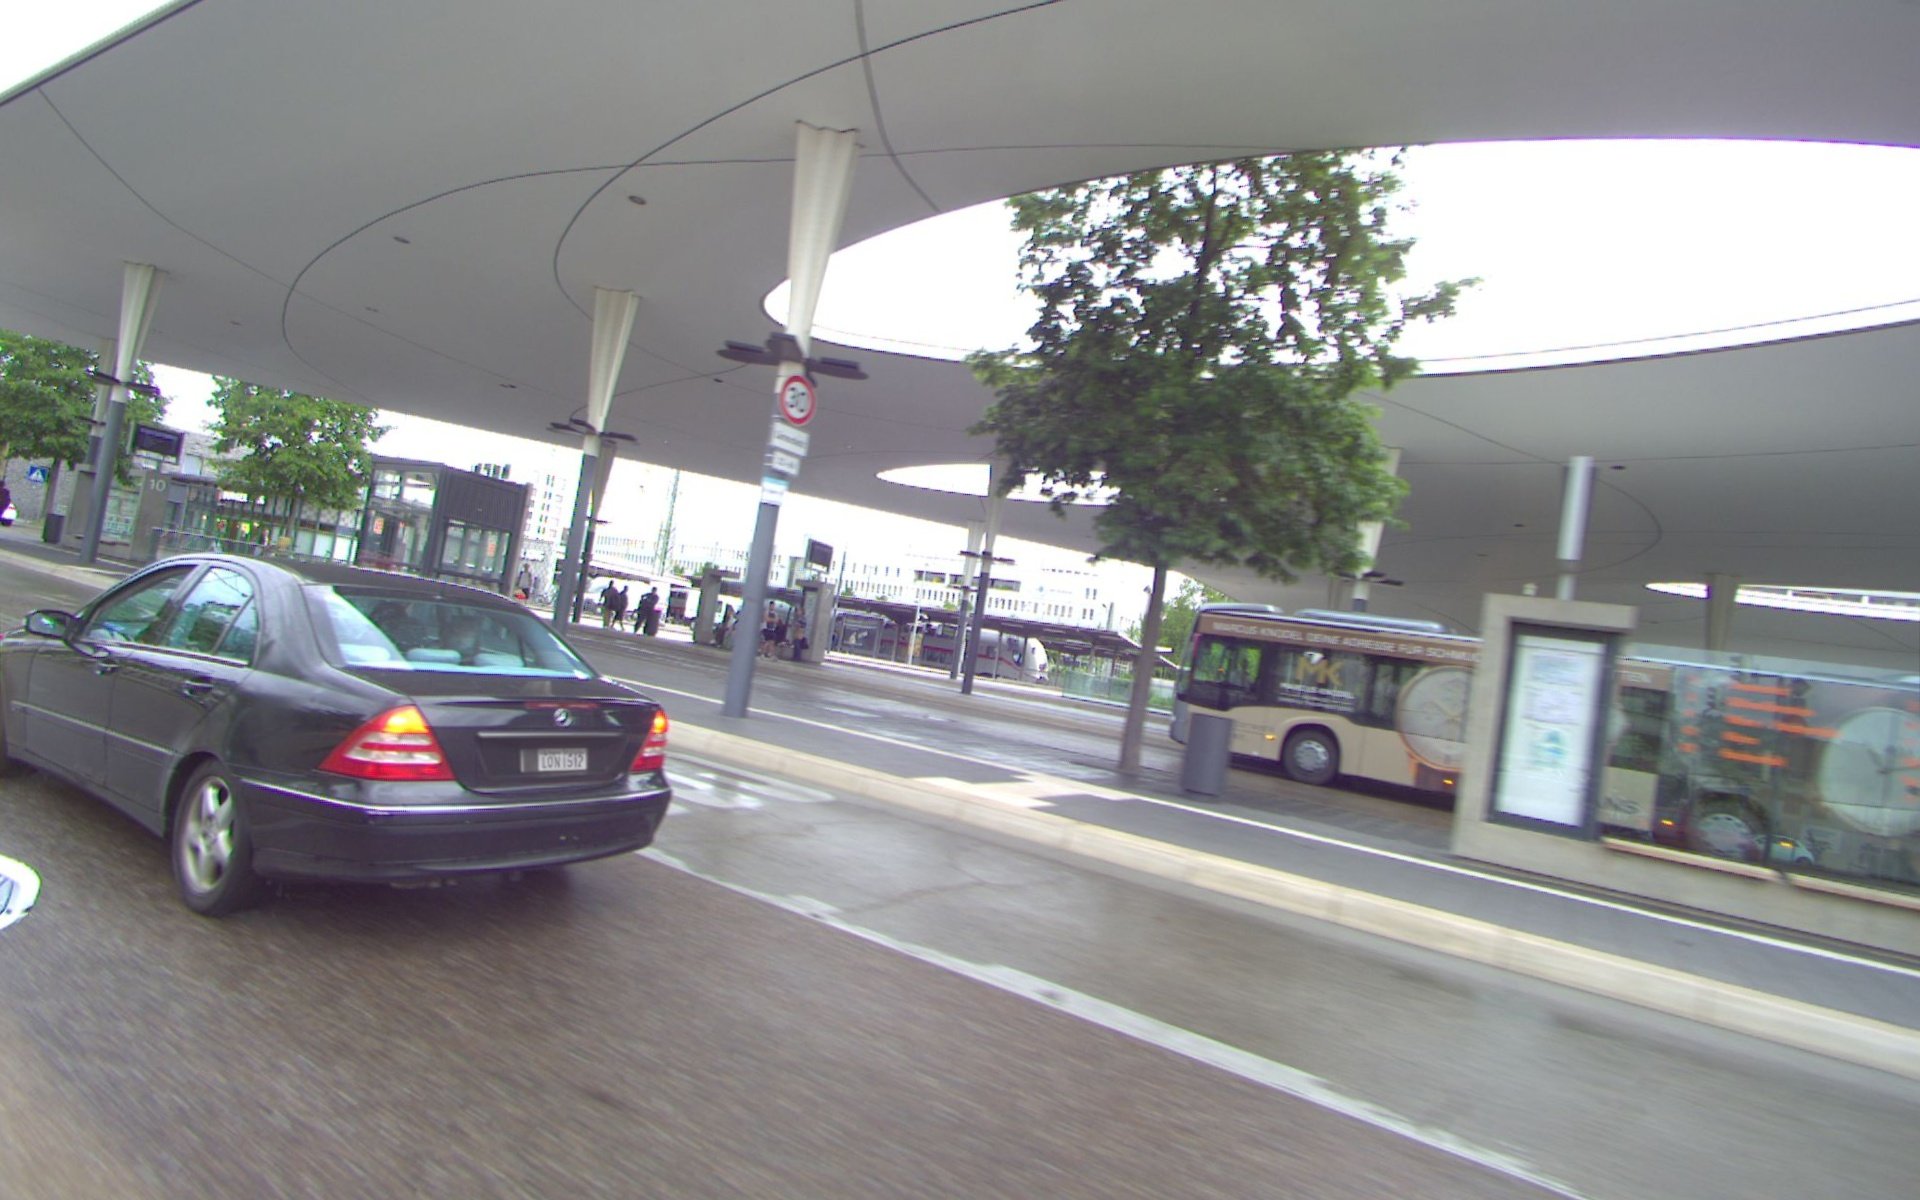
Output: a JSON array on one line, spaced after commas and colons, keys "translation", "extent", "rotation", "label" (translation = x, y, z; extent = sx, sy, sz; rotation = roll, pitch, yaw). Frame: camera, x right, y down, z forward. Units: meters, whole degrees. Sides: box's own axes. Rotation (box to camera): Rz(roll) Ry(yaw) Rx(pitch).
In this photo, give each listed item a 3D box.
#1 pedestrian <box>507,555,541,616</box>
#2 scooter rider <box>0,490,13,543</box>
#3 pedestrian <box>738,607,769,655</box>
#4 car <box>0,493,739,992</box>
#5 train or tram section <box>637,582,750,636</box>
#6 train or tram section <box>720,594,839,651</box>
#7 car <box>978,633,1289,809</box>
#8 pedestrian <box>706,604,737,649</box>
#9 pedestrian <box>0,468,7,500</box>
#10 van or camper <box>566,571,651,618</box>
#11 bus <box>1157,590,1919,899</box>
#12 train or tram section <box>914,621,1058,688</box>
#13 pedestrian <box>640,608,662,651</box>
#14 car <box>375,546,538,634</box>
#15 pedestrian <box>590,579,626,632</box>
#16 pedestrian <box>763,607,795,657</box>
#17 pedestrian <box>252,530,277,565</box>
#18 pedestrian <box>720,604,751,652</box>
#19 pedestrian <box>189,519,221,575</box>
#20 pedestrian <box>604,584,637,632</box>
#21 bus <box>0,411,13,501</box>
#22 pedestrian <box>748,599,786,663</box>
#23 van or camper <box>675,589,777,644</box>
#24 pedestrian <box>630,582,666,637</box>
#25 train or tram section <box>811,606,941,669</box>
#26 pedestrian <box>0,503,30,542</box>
[{"translation": [-15.593, -0.490, 35.980], "extent": [0.719, 2.031, 0.666], "rotation": [11, -8, -31], "label": "pedestrian"}, {"translation": [-28.236, -2.482, 29.447], "extent": [0.590, 1.506, 0.755], "rotation": [10, -3, -43], "label": "scooter rider"}, {"translation": [-6.747, 1.018, 32.864], "extent": [0.603, 1.460, 0.561], "rotation": [6, -2, 29], "label": "pedestrian"}, {"translation": [-3.366, 0.425, 5.163], "extent": [4.232, 1.479, 1.701], "rotation": [7, -2, 32], "label": "car"}, {"translation": [-27.011, 0.864, 101.461], "extent": [12.120, 3.693, 3.145], "rotation": [7, -6, 32], "label": "train or tram section"}, {"translation": [-17.136, 2.070, 95.121], "extent": [11.424, 3.693, 3.145], "rotation": [7, -6, 32], "label": "train or tram section"}, {"translation": [2.086, 1.409, 12.175], "extent": [3.183, 1.469, 1.652], "rotation": [7, -3, 31], "label": "car"}, {"translation": [-7.924, 0.876, 33.485], "extent": [0.603, 1.376, 0.561], "rotation": [6, -2, 29], "label": "pedestrian"}, {"translation": [-25.649, -2.500, 26.268], "extent": [0.772, 2.033, 0.777], "rotation": [5, -6, 45], "label": "pedestrian"}, {"translation": [-22.409, -0.318, 64.328], "extent": [2.074, 2.294, 4.701], "rotation": [7, -3, 29], "label": "van or camper"}, {"translation": [9.573, 2.075, 16.851], "extent": [11.891, 3.078, 2.727], "rotation": [7, -2, 33], "label": "bus"}, {"translation": [2.013, 4.404, 82.875], "extent": [11.425, 3.712, 3.145], "rotation": [7, -6, 32], "label": "train or tram section"}, {"translation": [-10.931, 1.049, 35.572], "extent": [0.469, 1.403, 0.560], "rotation": [10, -7, -22], "label": "pedestrian"}, {"translation": [-13.284, -0.282, 26.496], "extent": [4.169, 1.680, 1.717], "rotation": [7, -4, 32], "label": "car"}, {"translation": [-11.655, 0.183, 33.316], "extent": [0.699, 1.597, 0.601], "rotation": [6, -5, 24], "label": "pedestrian"}, {"translation": [-5.790, 1.025, 32.154], "extent": [0.625, 1.460, 0.561], "rotation": [6, -2, 30], "label": "pedestrian"}, {"translation": [-34.529, -2.606, 49.950], "extent": [0.664, 1.592, 0.606], "rotation": [2, -8, 38], "label": "pedestrian"}, {"translation": [-7.390, 0.924, 33.130], "extent": [0.603, 1.460, 0.561], "rotation": [6, -2, 29], "label": "pedestrian"}, {"translation": [-24.313, -1.704, 32.392], "extent": [0.570, 1.697, 0.578], "rotation": [8, -2, -31], "label": "pedestrian"}, {"translation": [-12.279, 0.302, 36.433], "extent": [0.759, 1.592, 0.583], "rotation": [7, -7, 1], "label": "pedestrian"}, {"translation": [-27.573, -3.410, 25.012], "extent": [10.702, 3.329, 3.292], "rotation": [7, -2, 34], "label": "bus"}, {"translation": [-5.537, 0.890, 28.886], "extent": [0.603, 1.710, 0.562], "rotation": [8, -2, 26], "label": "pedestrian"}, {"translation": [-14.582, 1.011, 62.519], "extent": [6.110, 2.536, 2.099], "rotation": [7, -3, 29], "label": "van or camper"}, {"translation": [-10.560, 0.311, 34.042], "extent": [0.707, 1.730, 0.757], "rotation": [4, 4, -45], "label": "pedestrian"}, {"translation": [-7.552, 3.254, 88.980], "extent": [11.424, 3.715, 3.145], "rotation": [7, -6, 32], "label": "train or tram section"}, {"translation": [-28.088, -2.294, 29.618], "extent": [0.912, 0.994, 0.627], "rotation": [11, -8, -43], "label": "pedestrian"}]
